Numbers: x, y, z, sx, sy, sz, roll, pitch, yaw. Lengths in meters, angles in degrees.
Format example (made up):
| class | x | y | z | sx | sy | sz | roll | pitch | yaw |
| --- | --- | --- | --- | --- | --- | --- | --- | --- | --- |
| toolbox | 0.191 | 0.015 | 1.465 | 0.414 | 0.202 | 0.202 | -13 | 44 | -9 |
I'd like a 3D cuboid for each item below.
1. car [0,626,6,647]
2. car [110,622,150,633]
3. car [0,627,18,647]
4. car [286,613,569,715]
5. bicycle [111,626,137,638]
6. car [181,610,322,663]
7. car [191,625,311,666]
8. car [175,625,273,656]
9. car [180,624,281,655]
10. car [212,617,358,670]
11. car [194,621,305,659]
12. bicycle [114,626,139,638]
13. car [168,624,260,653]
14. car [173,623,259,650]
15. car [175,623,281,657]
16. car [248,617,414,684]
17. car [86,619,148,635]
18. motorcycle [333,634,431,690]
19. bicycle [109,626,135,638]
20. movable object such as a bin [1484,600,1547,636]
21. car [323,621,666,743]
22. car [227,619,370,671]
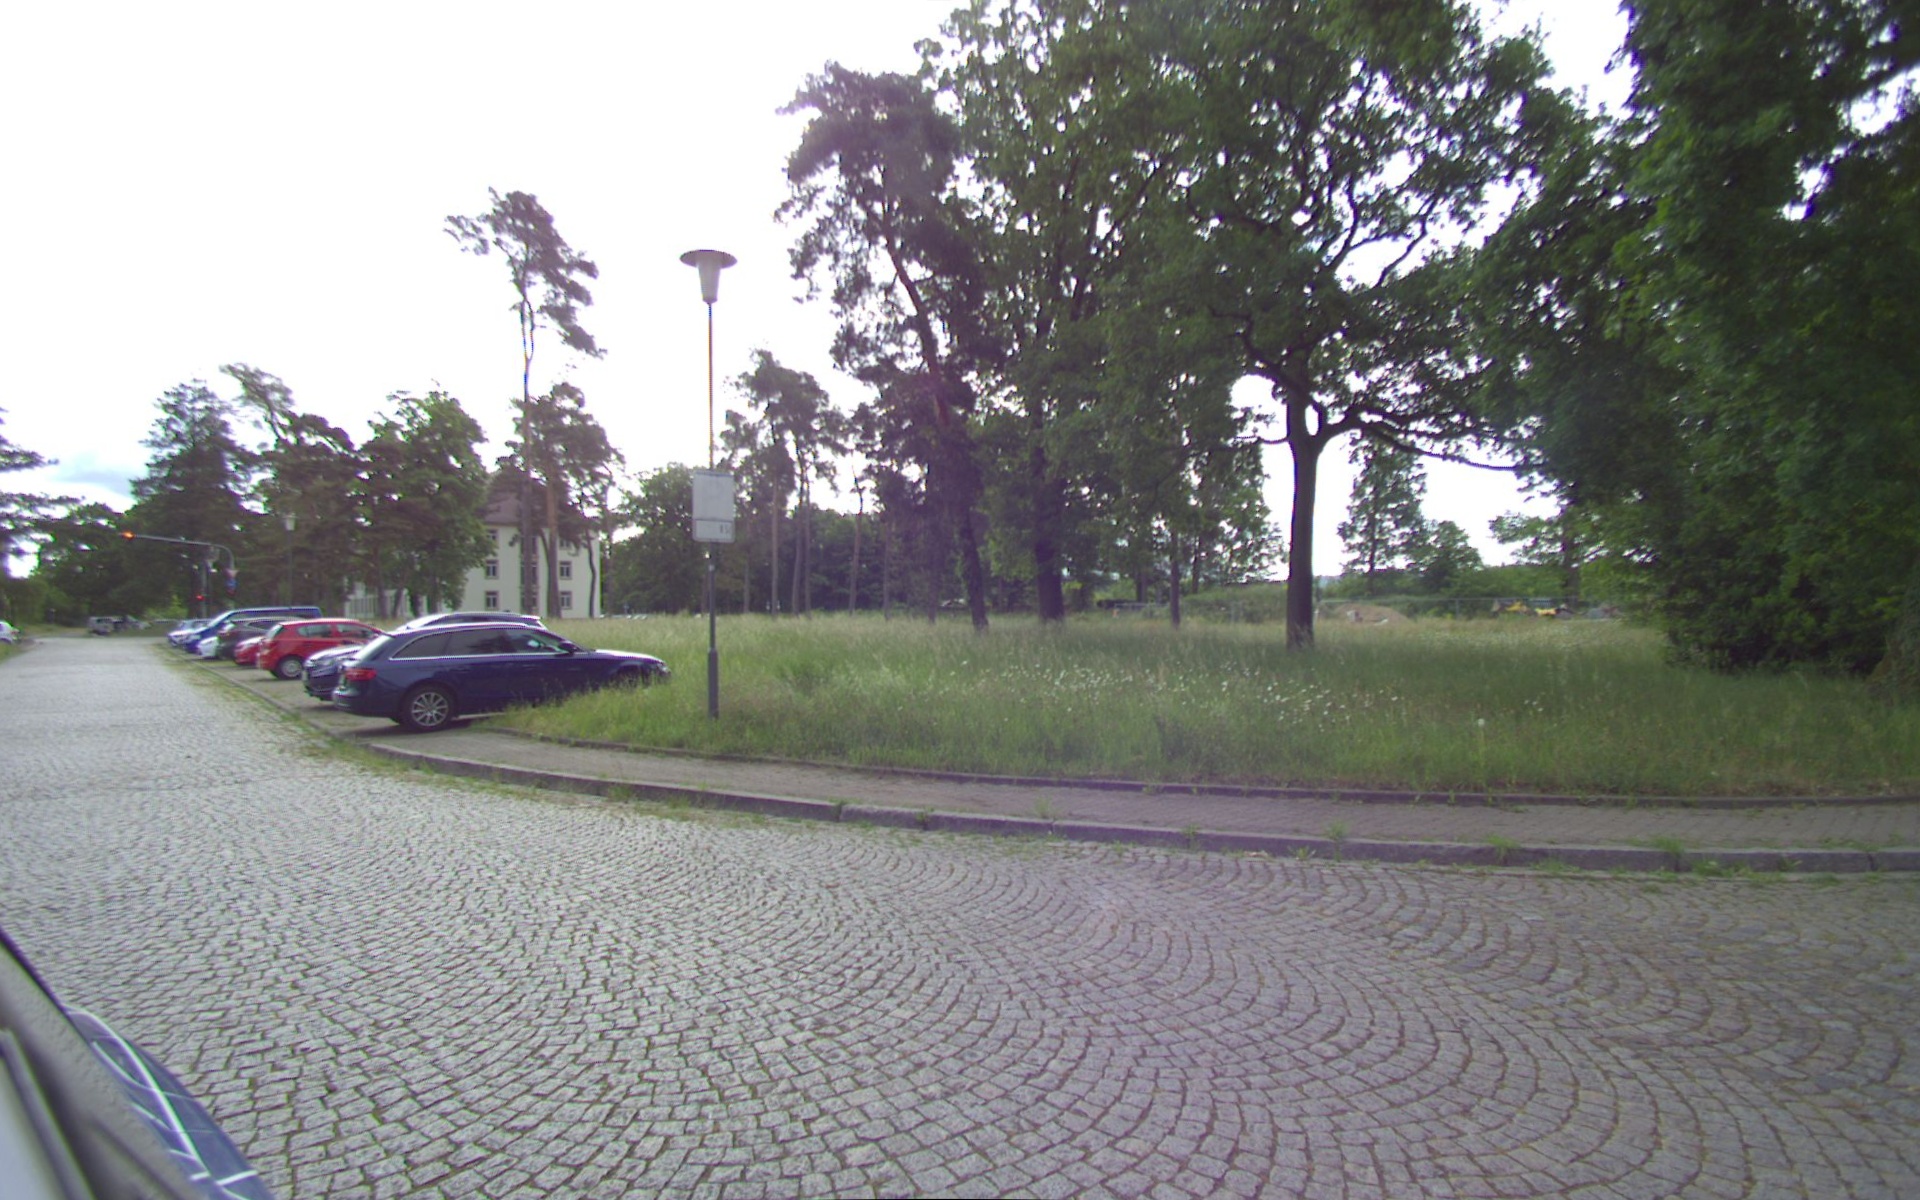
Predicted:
| class | x | y | z | sx | sy | sz | roll | pitch | yaw |
| --- | --- | --- | --- | --- | --- | --- | --- | --- | --- |
| car | -51.239 | 1.899 | 51.979 | 3.221 | 1.095 | 1.451 | 0 | -1 | -44 |
| car | -87.125 | 2.882 | 106.253 | 1.340 | 1.060 | 3.075 | -1 | -1 | 42 |
| car | -52.576 | 1.995 | 54.079 | 3.221 | 1.095 | 1.398 | 0 | -1 | -44 |
| car | -9.674 | 1.076 | 18.584 | 4.299 | 1.574 | 1.766 | -1 | 0 | -42 |
| bicycle | -78.516 | 2.978 | 95.052 | 0.511 | 1.103 | 1.836 | -1 | -1 | 42 |
| car | -28.780 | 1.444 | 41.178 | 4.476 | 1.916 | 1.795 | -2 | 0 | -42 |
| car | -27.335 | 1.708 | 39.077 | 3.638 | 1.349 | 1.586 | -2 | 0 | -42 |
| car | -37.702 | 2.036 | 51.885 | 3.893 | 1.349 | 1.586 | -2 | 0 | -42 |
| car | -35.894 | 1.917 | 49.856 | 3.893 | 1.349 | 1.586 | -2 | 0 | -42 |
| car | -22.957 | 1.422 | 34.485 | 3.893 | 1.557 | 1.766 | -2 | 0 | -42 |
| car | -31.810 | 1.755 | 45.373 | 3.893 | 1.445 | 1.586 | -2 | 0 | -42 |
| bicycle | -78.905 | 2.985 | 95.810 | 0.511 | 1.103 | 1.836 | -1 | -1 | 42 |
| car | -40.636 | 2.070 | 55.165 | 3.893 | 1.349 | 1.586 | -2 | 0 | -42 |
| car | -43.813 | 2.128 | 59.630 | 3.893 | 1.349 | 1.586 | -2 | 0 | -42 |
| car | -34.215 | 1.849 | 47.354 | 3.893 | 1.349 | 1.586 | -2 | 0 | -42 |
| car | -16.390 | 1.266 | 26.433 | 3.446 | 1.493 | 1.604 | -2 | 0 | -42 |
| car | -89.994 | 2.859 | 108.096 | 1.901 | 1.634 | 4.917 | -1 | -1 | 42 |
| motorcycle | -13.179 | 1.393 | 23.117 | 0.550 | 1.202 | 1.887 | -1 | -1 | 44 |
| bicycle | -78.343 | 2.978 | 94.623 | 0.511 | 1.103 | 1.836 | -1 | -1 | 42 |
| movable object such as a bin | 41.884 | 1.378 | 76.463 | 1.974 | 2.575 | 5.341 | 0 | -1 | 4 |
| car | -6.748 | 1.083 | 14.888 | 4.285 | 1.415 | 1.768 | -1 | 0 | -38 |
| car | -21.172 | 1.408 | 32.444 | 3.607 | 1.432 | 1.579 | -2 | 0 | -42 |
